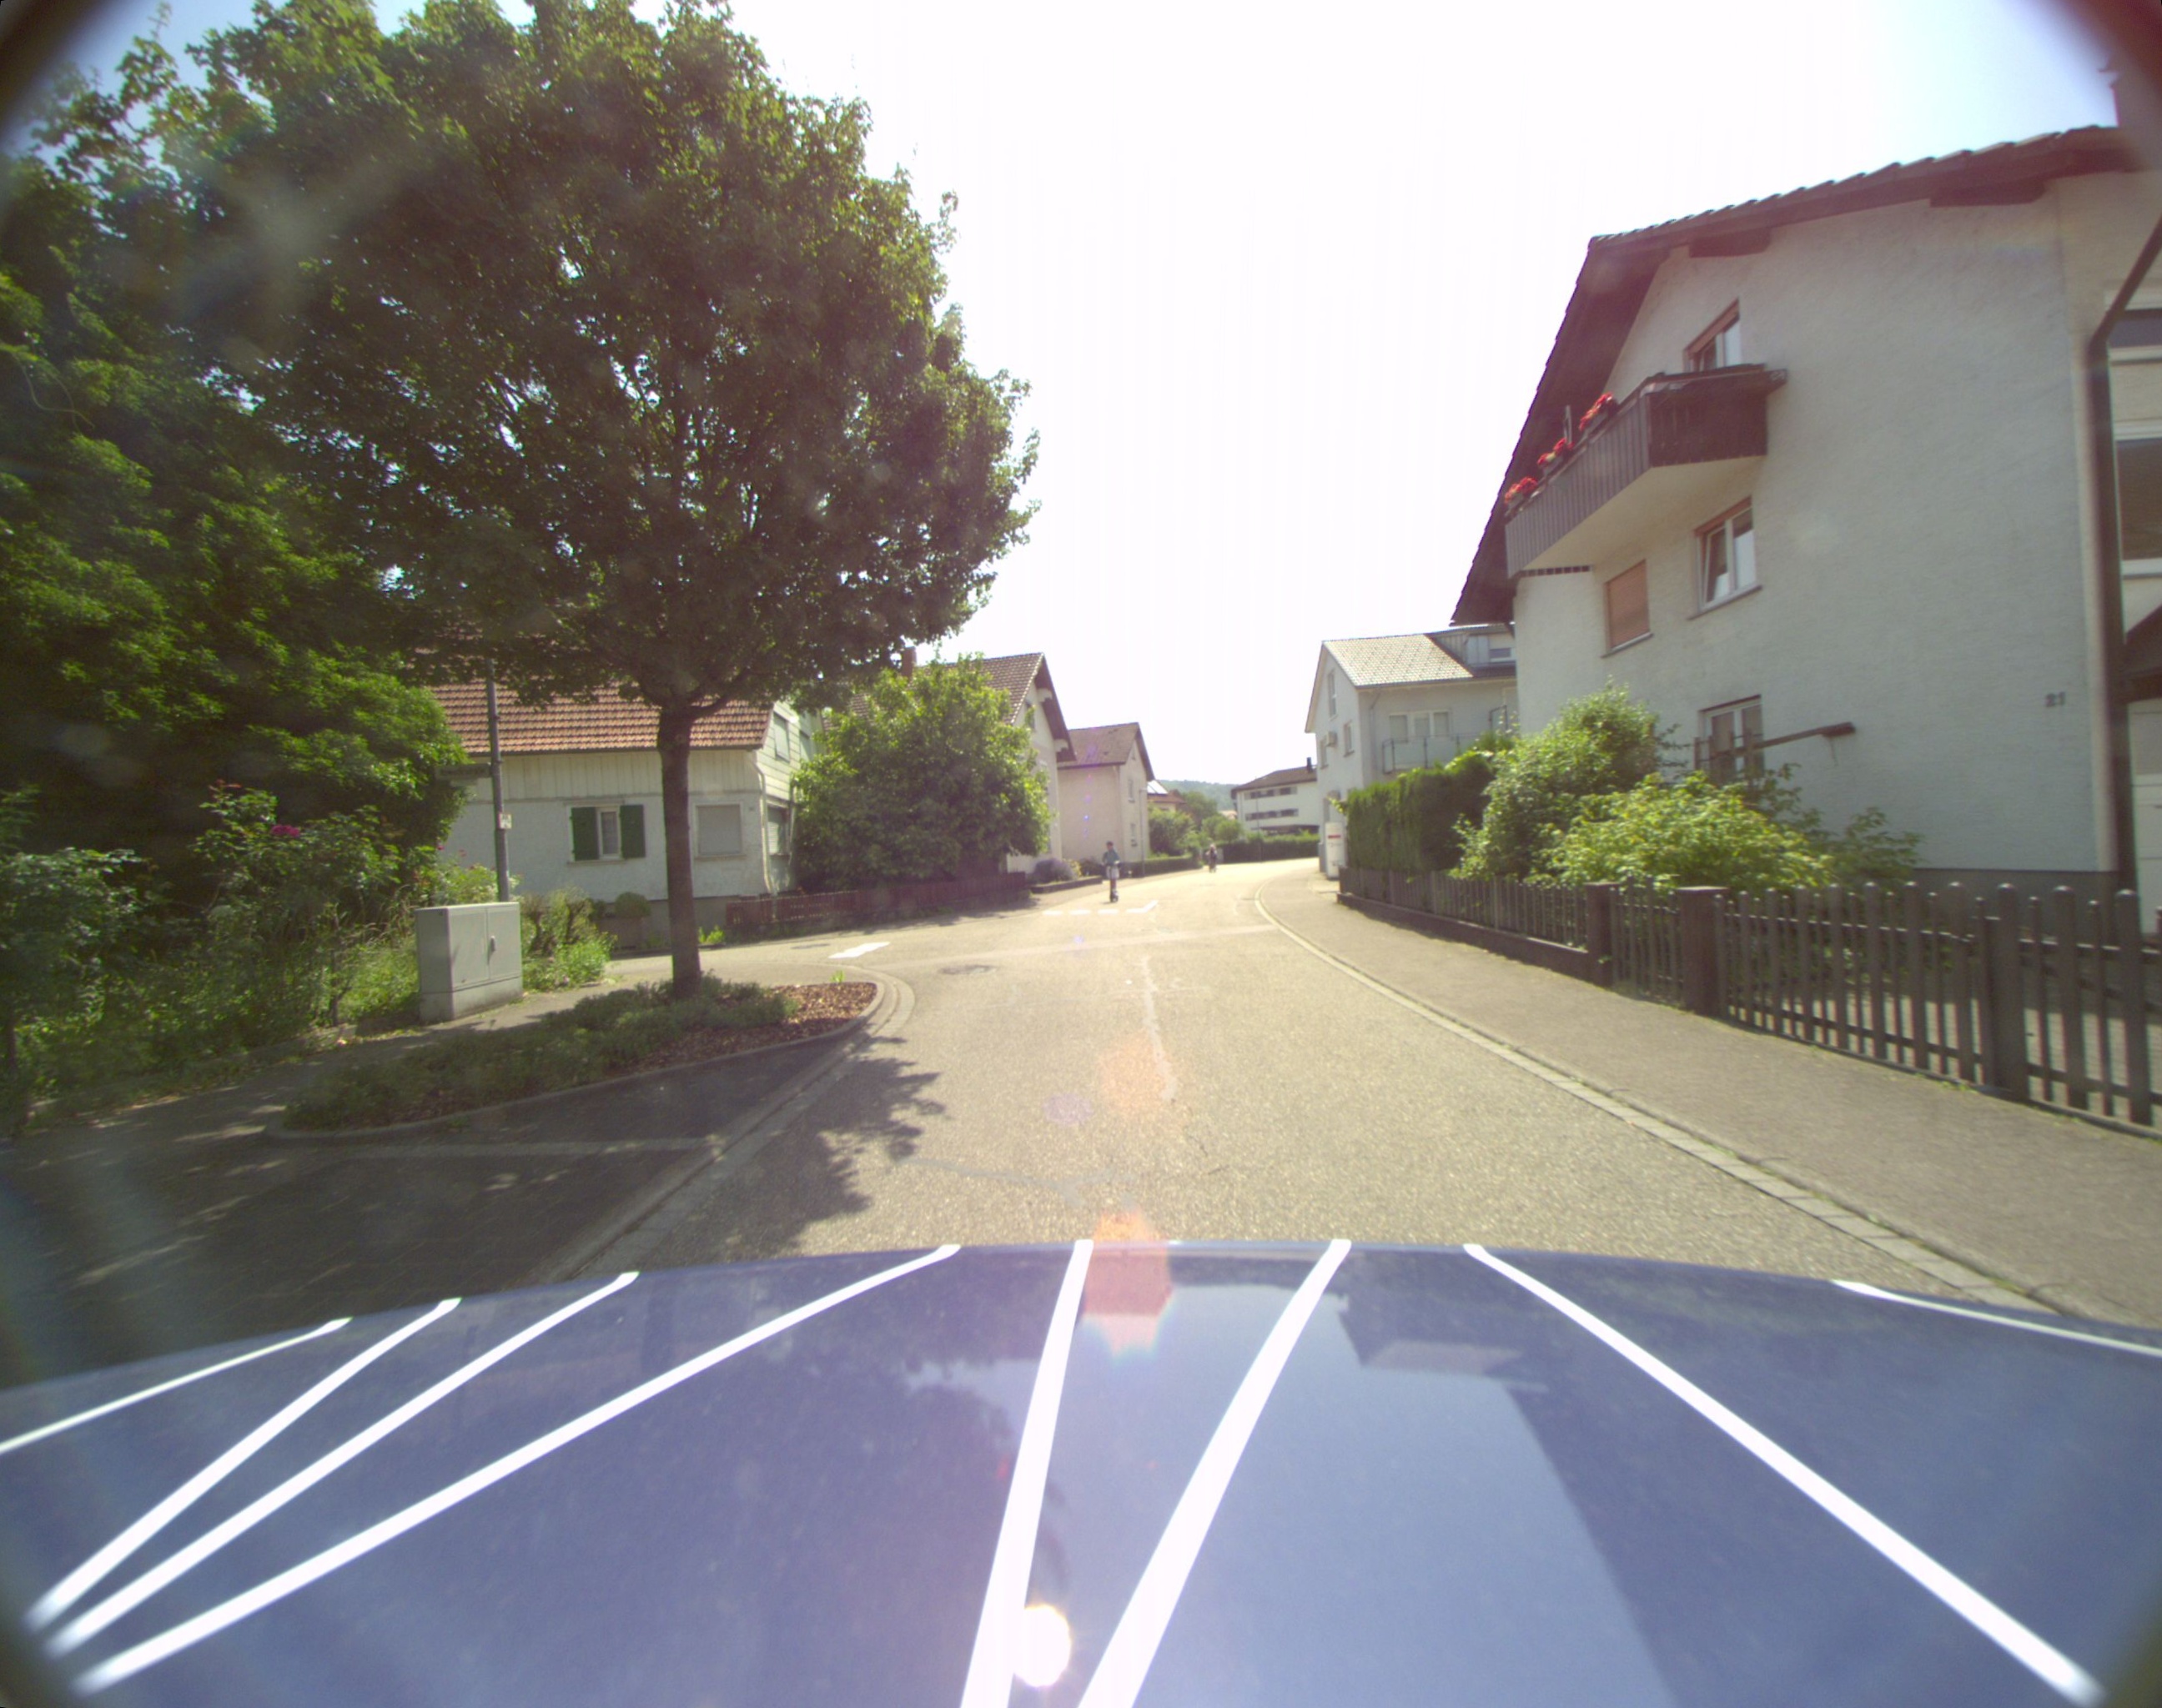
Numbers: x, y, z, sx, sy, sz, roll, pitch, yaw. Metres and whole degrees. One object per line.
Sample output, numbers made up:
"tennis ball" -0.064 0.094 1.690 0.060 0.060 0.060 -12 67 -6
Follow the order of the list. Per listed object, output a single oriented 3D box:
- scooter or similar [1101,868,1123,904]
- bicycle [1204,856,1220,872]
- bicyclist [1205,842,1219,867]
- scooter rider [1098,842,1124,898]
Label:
"scooter or similar" 0.993 1.017 24.204 0.542 1.083 0.692 -3 1 13
"bicycle" 8.069 0.615 46.859 0.520 0.899 1.315 -2 1 29
"bicyclist" 8.127 0.046 47.006 0.546 1.481 0.798 -2 1 29
"scooter rider" 0.957 0.500 24.192 0.616 1.714 0.641 -3 1 13
